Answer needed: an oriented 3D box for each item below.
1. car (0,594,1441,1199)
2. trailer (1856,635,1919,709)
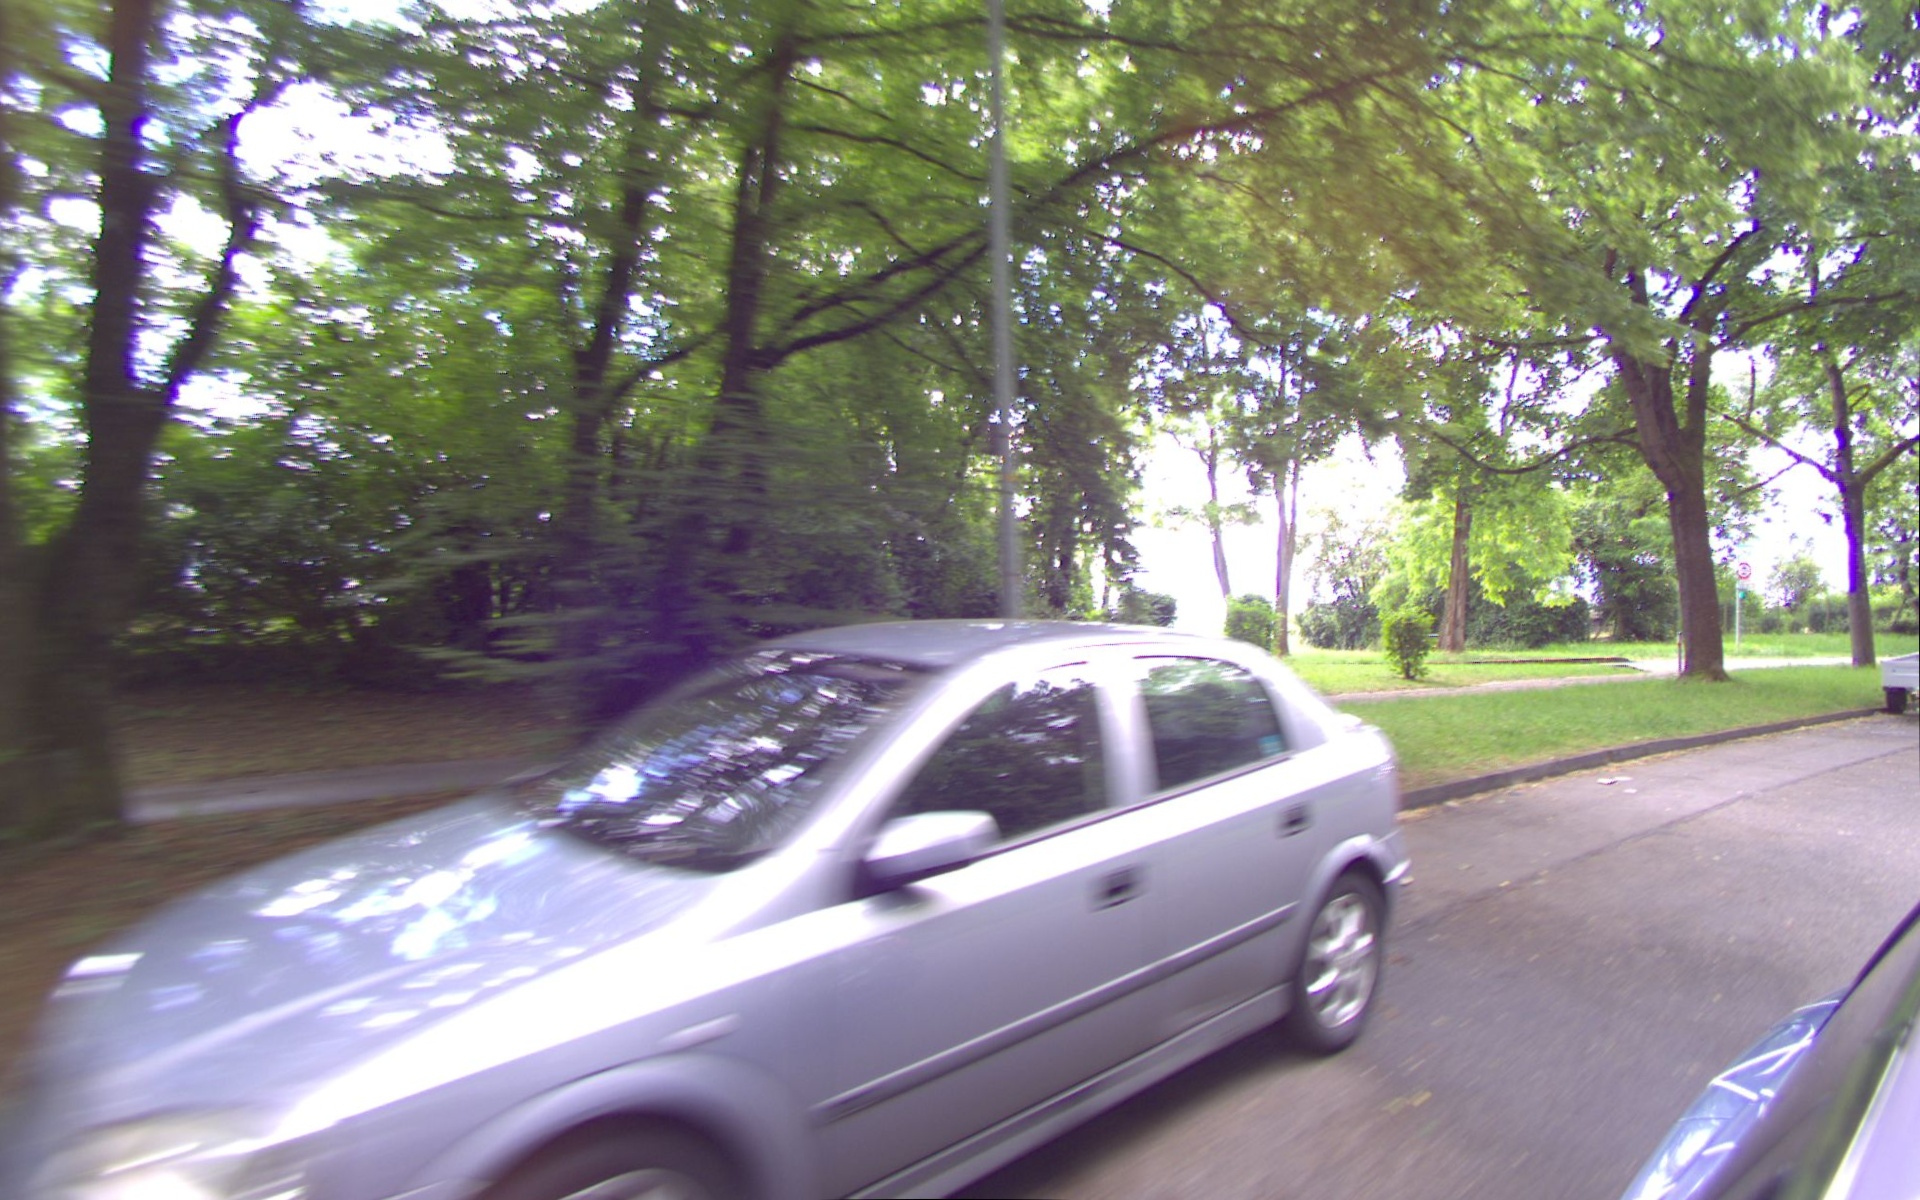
[{"bbox_3d":[-0.314,0.730,2.961,3.880,1.449,1.720,-1,1,-41],"label":"car"},{"bbox_3d":[13.859,0.952,13.975,3.215,0.858,1.368,-1,-1,-32],"label":"trailer"}]
